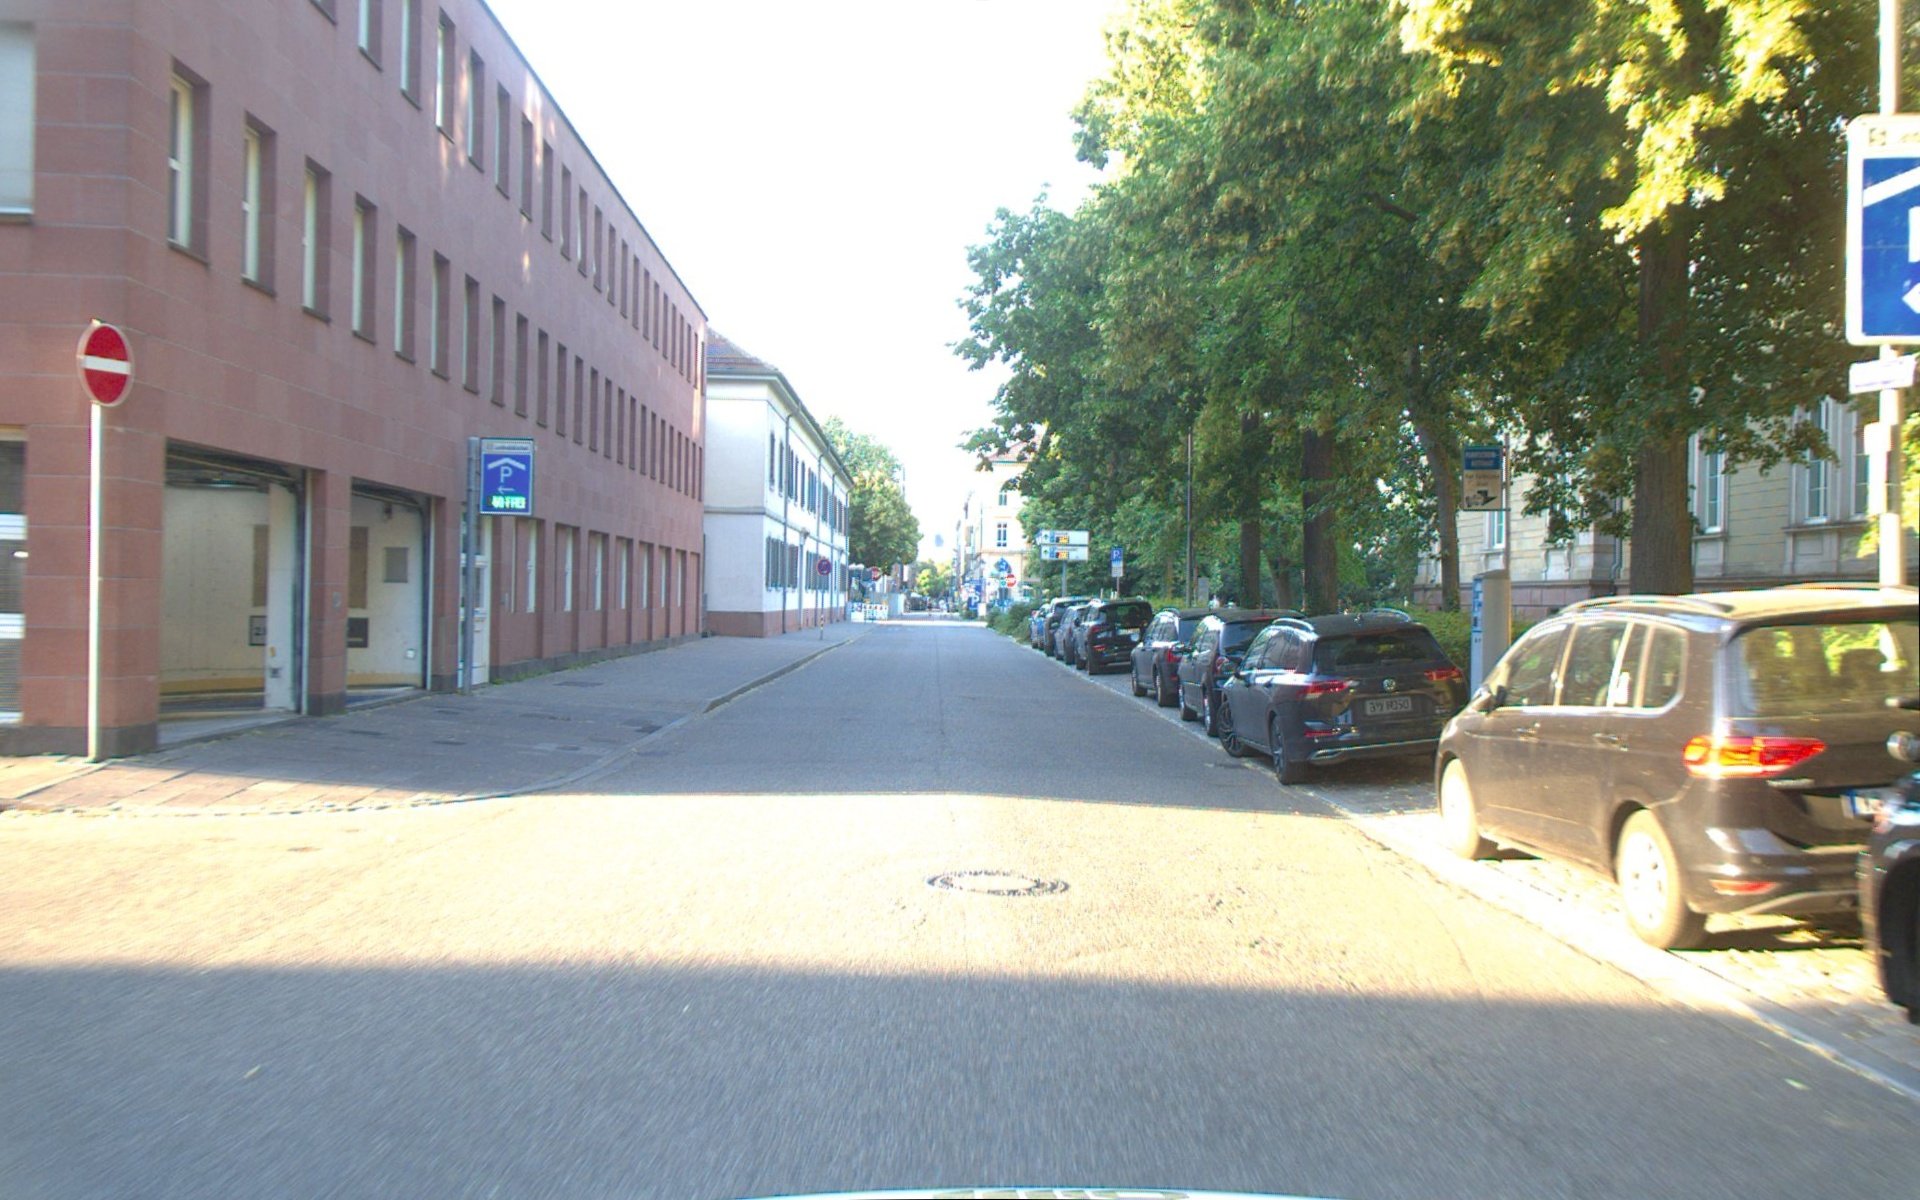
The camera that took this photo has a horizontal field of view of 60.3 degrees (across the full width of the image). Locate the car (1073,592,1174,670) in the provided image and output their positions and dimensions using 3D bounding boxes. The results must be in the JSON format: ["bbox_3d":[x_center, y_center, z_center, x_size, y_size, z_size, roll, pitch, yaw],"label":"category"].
[{"bbox_3d":[3.695,0.699,38.018,1.770,1.680,4.417,0,-1,-1],"label":"car"}]

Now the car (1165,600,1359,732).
[{"bbox_3d":[3.826,0.810,21.629,1.689,1.560,4.188,0,-1,-1],"label":"car"}]

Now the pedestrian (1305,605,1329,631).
[{"bbox_3d":[18.430,0.927,85.437,0.902,1.371,0.881,1,-1,-17],"label":"pedestrian"}]

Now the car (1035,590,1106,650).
[{"bbox_3d":[3.212,0.608,48.940,1.689,1.680,4.711,0,-1,-1],"label":"car"}]

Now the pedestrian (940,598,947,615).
[{"bbox_3d":[-1.607,0.647,158.463,0.644,1.645,0.745,1,0,-1],"label":"pedestrian"}]

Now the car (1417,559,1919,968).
[{"bbox_3d":[4.057,0.721,9.206,1.689,1.712,4.498,0,-1,-1],"label":"car"}]

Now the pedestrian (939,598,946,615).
[{"bbox_3d":[-1.692,0.653,160.454,0.644,1.664,0.745,1,0,-1],"label":"pedestrian"}]

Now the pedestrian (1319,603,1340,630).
[{"bbox_3d":[19.186,0.869,85.917,0.747,1.371,0.784,1,-1,-17],"label":"pedestrian"}]

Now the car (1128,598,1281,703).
[{"bbox_3d":[3.841,0.777,26.668,1.699,1.533,4.520,0,-1,-1],"label":"car"}]

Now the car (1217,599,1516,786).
[{"bbox_3d":[3.769,0.807,16.171,1.689,1.560,4.621,0,-1,-1],"label":"car"}]

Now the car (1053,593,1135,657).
[{"bbox_3d":[3.431,0.652,43.042,1.689,1.565,4.188,0,-1,-1],"label":"car"}]

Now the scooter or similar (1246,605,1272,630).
[{"bbox_3d":[14.968,0.872,82.760,1.197,1.267,0.416,1,-1,-18],"label":"scooter or similar"}]

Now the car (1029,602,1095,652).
[{"bbox_3d":[3.356,0.864,55.121,1.689,1.514,4.608,-3,0,-2],"label":"car"}]

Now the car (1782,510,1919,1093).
[{"bbox_3d":[3.940,0.617,3.636,1.768,1.845,4.946,0,-1,-1],"label":"car"}]

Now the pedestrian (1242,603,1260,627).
[{"bbox_3d":[14.698,0.760,83.646,0.790,1.212,0.789,0,-1,2],"label":"pedestrian"}]
